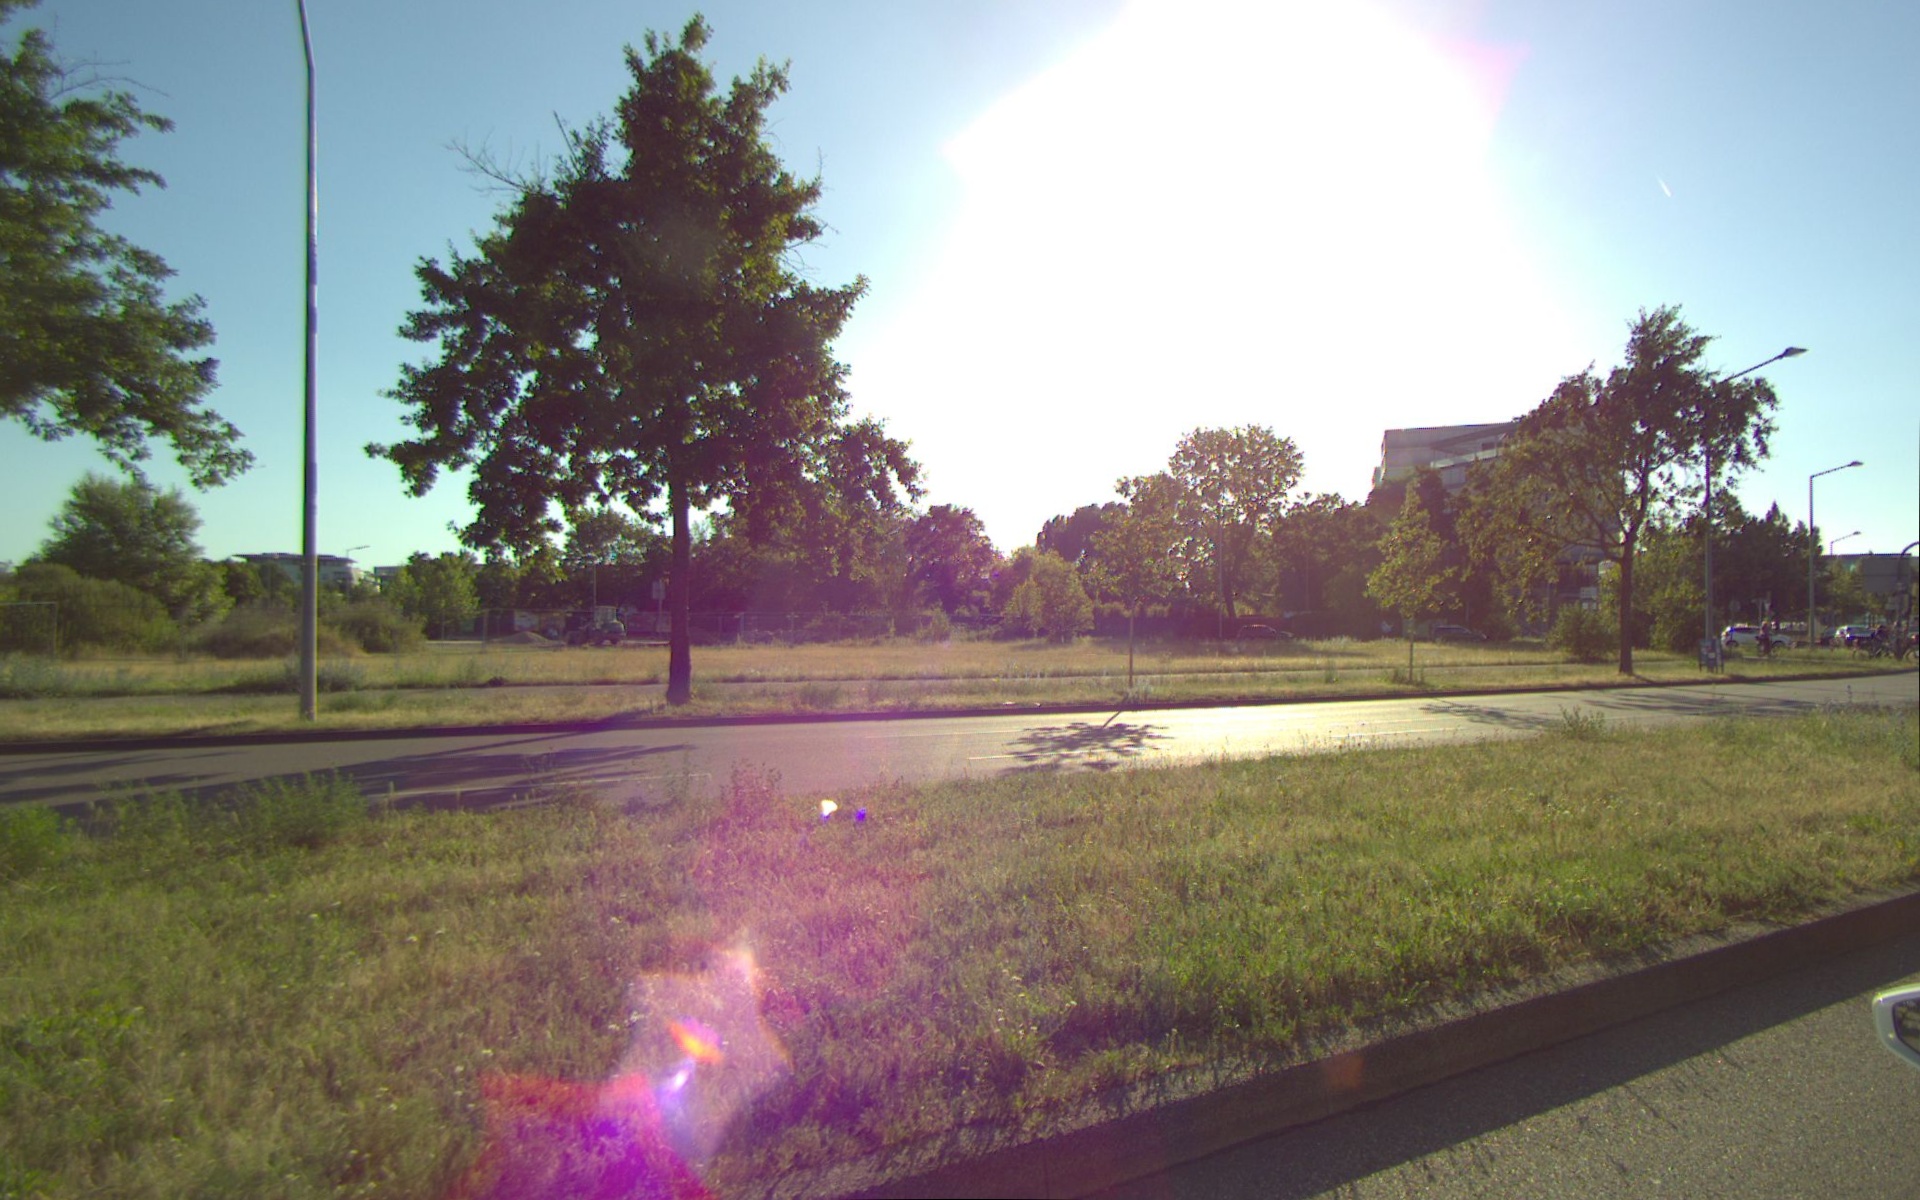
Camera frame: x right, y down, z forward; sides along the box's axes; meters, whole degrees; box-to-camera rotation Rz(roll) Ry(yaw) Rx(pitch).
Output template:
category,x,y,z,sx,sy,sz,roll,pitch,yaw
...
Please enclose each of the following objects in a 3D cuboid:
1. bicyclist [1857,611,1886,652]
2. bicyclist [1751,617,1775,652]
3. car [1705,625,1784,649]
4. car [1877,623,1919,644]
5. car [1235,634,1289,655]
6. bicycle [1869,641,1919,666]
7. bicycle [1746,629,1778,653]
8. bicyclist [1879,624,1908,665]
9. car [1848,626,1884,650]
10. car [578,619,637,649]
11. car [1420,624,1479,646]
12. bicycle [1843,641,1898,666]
category,x,y,z,sx,sy,sz,roll,pitch,yaw
bicyclist,40.742,1.409,44.891,0.488,1.794,0.813,1,0,-12
bicyclist,39.453,1.697,49.379,0.696,1.688,0.831,-1,-1,22
car,51.333,2.417,65.806,3.910,1.528,1.842,-1,-2,35
car,64.243,2.234,67.890,1.639,1.394,4.151,-2,-2,17
car,23.305,3.430,77.454,3.915,1.528,1.875,-1,-1,20
bicycle,42.083,2.382,45.066,0.497,1.033,1.906,1,0,-20
bicycle,39.510,2.017,49.495,0.712,1.133,1.823,0,-1,22
bicyclist,42.037,1.978,45.217,0.489,1.813,0.812,1,0,-20
car,57.980,2.412,64.291,1.649,1.460,3.596,-3,-3,42
car,-24.682,2.377,70.271,3.815,2.040,1.994,-1,-2,34
car,35.661,2.533,73.220,3.636,1.528,1.875,-1,-1,20
bicycle,40.717,2.378,44.946,0.495,1.033,1.910,1,0,-12
